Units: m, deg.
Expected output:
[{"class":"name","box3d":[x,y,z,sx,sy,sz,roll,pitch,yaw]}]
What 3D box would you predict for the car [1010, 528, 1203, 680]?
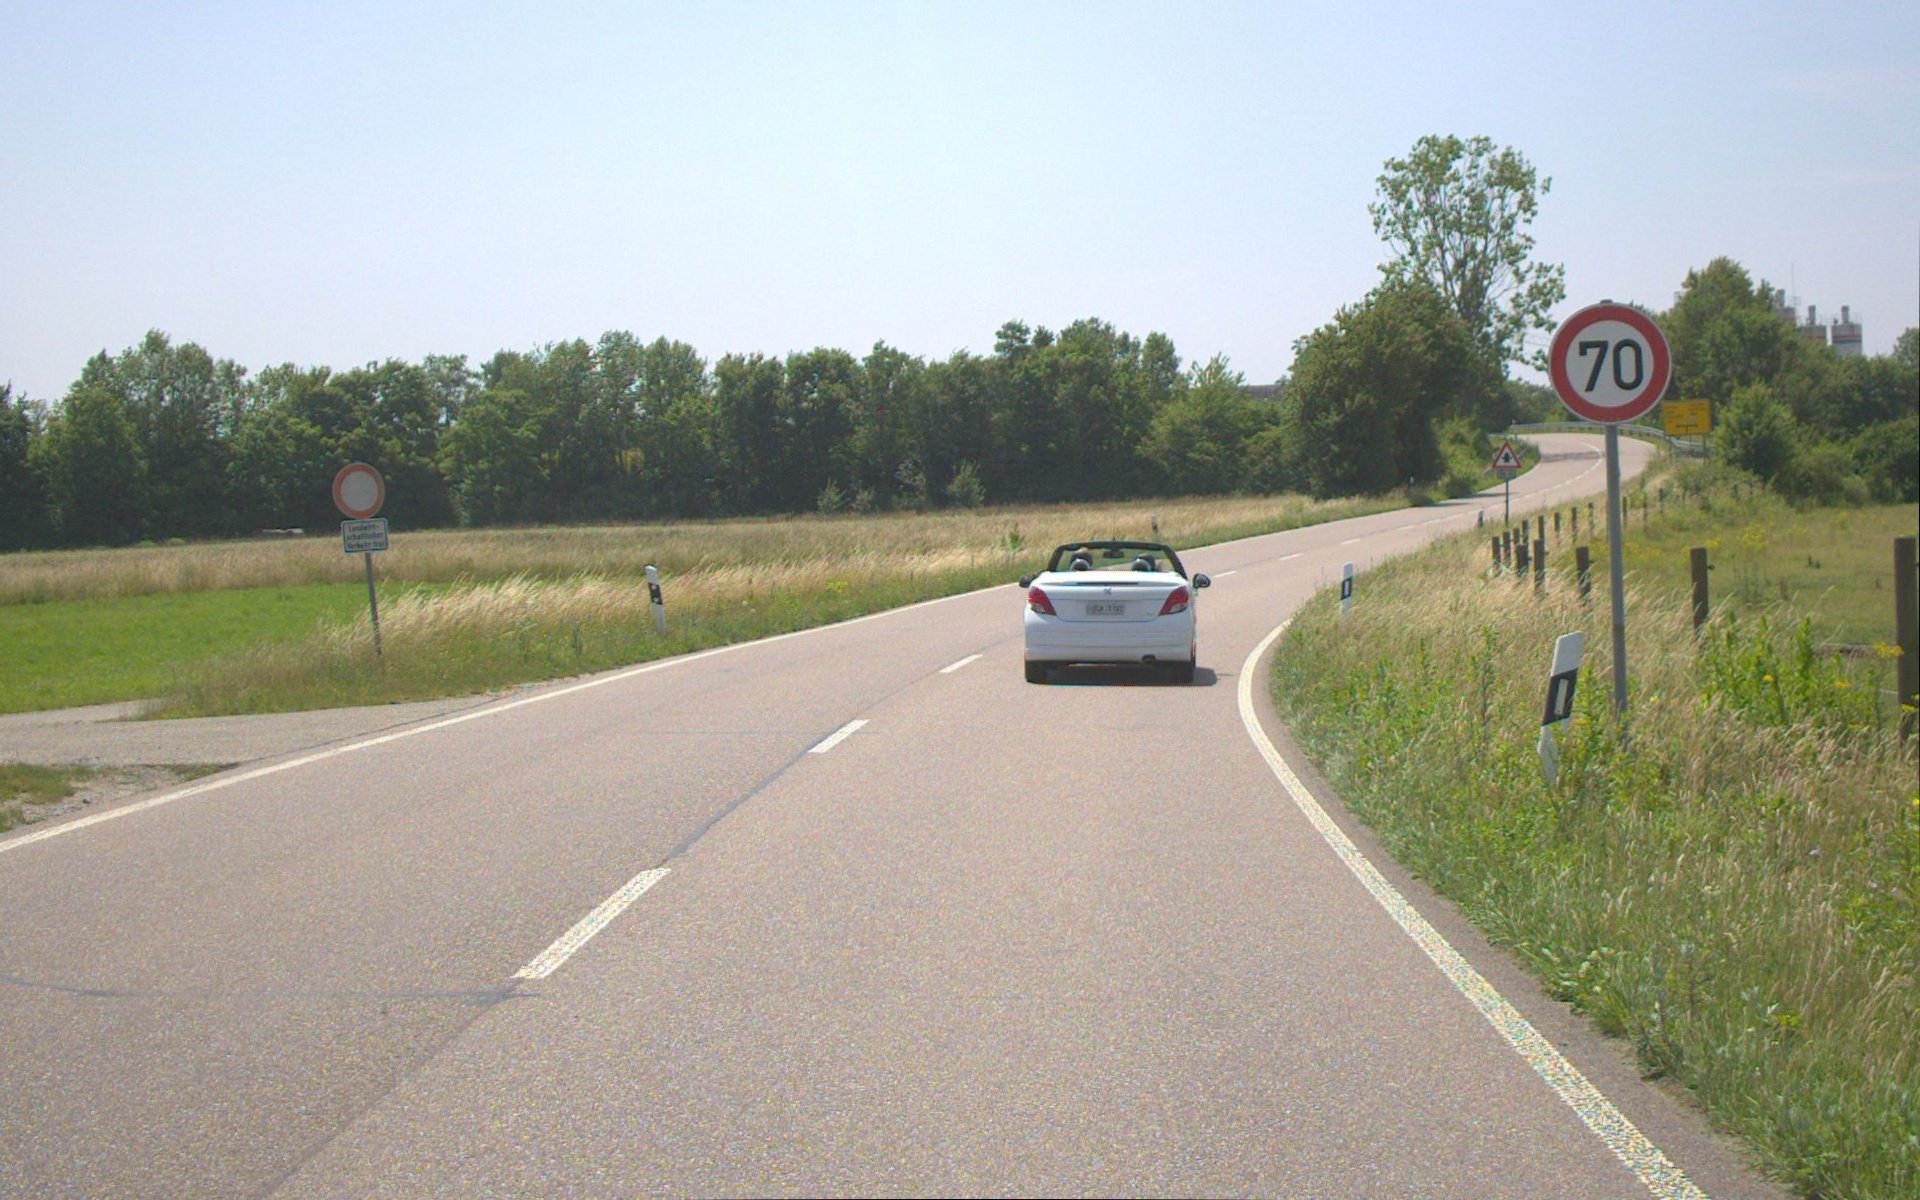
[{"class":"car","box3d":[1.551,-0.007,35.231,1.851,1.374,4.000,1,2,4]}]
